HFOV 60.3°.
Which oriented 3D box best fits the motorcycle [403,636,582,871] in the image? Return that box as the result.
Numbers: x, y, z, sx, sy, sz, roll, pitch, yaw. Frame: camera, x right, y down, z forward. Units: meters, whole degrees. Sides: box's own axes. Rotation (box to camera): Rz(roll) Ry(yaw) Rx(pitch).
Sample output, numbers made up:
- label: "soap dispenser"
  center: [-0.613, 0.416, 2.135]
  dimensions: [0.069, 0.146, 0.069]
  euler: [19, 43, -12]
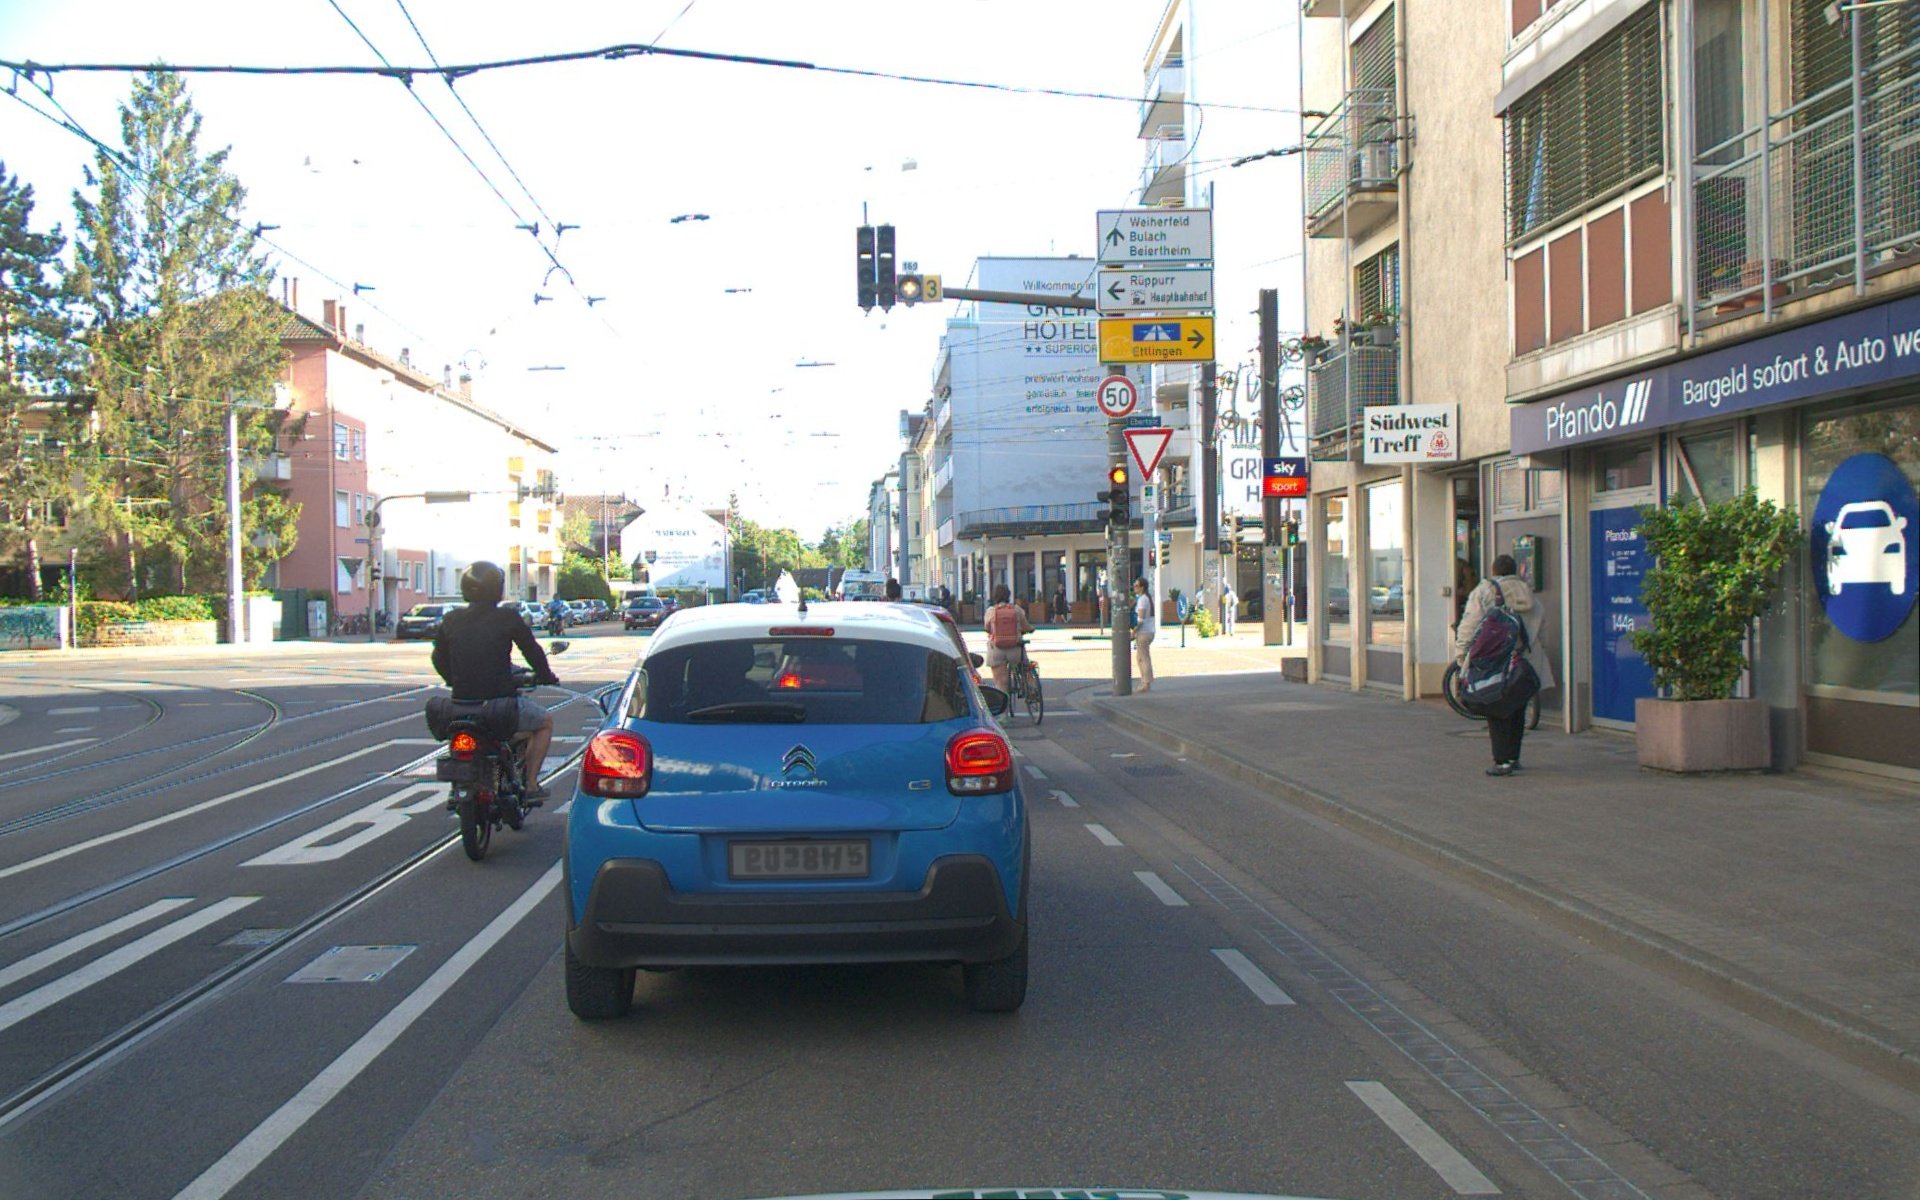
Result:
- label: "motorcycle"
  center: [-2.773, 0.858, 9.997]
  dimensions: [0.526, 1.240, 1.980]
  euler: [1, 0, -1]

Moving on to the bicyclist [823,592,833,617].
- label: "bicyclist"
  center: [-8.006, 0.276, 100.089]
  dimensions: [0.549, 1.503, 0.747]
  euler: [1, -1, -2]

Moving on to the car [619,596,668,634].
- label: "car"
  center: [-14.541, 0.692, 76.146]
  dimensions: [1.740, 1.695, 3.853]
  euler: [1, 0, -4]

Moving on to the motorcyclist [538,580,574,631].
- label: "motorcyclist"
  center: [-16.367, 0.223, 67.043]
  dimensions: [1.162, 2.049, 1.274]
  euler: [-1, 0, -4]

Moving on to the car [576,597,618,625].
- label: "car"
  center: [-23.229, 0.705, 105.955]
  dimensions: [1.944, 1.716, 3.997]
  euler: [1, 0, -4]

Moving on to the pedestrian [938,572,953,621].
- label: "pedestrian"
  center: [-0.622, -0.159, 70.291]
  dimensions: [0.565, 2.049, 0.625]
  euler: [1, -1, -3]

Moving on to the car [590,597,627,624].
- label: "car"
  center: [-23.529, 0.685, 110.826]
  dimensions: [1.845, 1.716, 3.997]
  euler: [1, 0, -4]

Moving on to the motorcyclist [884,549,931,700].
- label: "motorcyclist"
  center: [-0.616, 0.291, 19.599]
  dimensions: [0.516, 1.746, 0.717]
  euler: [1, -1, -1]

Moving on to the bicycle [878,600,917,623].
- label: "bicycle"
  center: [-2.604, 0.483, 69.238]
  dimensions: [1.751, 0.917, 0.365]
  euler: [1, -1, 34]

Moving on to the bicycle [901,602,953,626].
- label: "bicycle"
  center: [-1.362, 0.566, 67.509]
  dimensions: [2.093, 0.917, 0.366]
  euler: [1, -1, -10]

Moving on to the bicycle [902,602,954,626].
- label: "bicycle"
  center: [-1.298, 0.571, 67.086]
  dimensions: [2.093, 0.917, 0.366]
  euler: [1, -1, -10]

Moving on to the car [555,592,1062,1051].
- label: "car"
  center: [-0.514, 0.730, 7.140]
  dimensions: [1.620, 1.469, 3.522]
  euler: [1, 0, -1]

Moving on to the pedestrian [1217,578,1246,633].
- label: "pedestrian"
  center: [8.426, 0.168, 51.401]
  dimensions: [0.737, 1.686, 0.883]
  euler: [1, -1, -1]

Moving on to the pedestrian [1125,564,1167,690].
- label: "pedestrian"
  center: [2.718, 0.395, 24.223]
  dimensions: [0.507, 1.814, 0.595]
  euler: [1, -1, -3]

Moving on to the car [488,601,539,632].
- label: "car"
  center: [-23.106, 0.840, 85.693]
  dimensions: [1.750, 1.524, 3.997]
  euler: [1, 0, -4]

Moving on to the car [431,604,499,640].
- label: "car"
  center: [-22.227, 0.966, 74.383]
  dimensions: [1.778, 1.524, 4.299]
  euler: [1, 0, -1]

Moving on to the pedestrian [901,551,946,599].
- label: "pedestrian"
  center: [-1.606, -1.083, 73.517]
  dimensions: [1.953, 2.049, 3.999]
  euler: [1, 0, -1]

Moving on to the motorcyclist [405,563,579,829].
- label: "motorcyclist"
  center: [-2.781, 0.558, 9.882]
  dimensions: [0.843, 1.531, 0.598]
  euler: [1, -1, -1]

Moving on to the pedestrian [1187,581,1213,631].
- label: "pedestrian"
  center: [7.784, 0.195, 53.601]
  dimensions: [0.721, 1.629, 0.748]
  euler: [1, -1, -1]

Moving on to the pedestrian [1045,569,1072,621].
- label: "pedestrian"
  center: [3.930, -0.182, 65.918]
  dimensions: [0.747, 2.049, 0.706]
  euler: [0, -1, 44]

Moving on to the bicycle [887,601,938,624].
- label: "bicycle"
  center: [-1.964, 0.503, 68.262]
  dimensions: [2.093, 0.917, 0.366]
  euler: [1, -1, -10]

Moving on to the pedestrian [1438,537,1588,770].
- label: "pedestrian"
  center: [3.999, 0.378, 12.008]
  dimensions: [0.808, 1.620, 0.751]
  euler: [1, -1, -1]

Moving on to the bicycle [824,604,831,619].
- label: "bicycle"
  center: [-8.013, 0.697, 100.195]
  dimensions: [0.342, 0.919, 1.858]
  euler: [1, 0, -2]

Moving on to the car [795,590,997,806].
- label: "car"
  center: [-0.472, 0.700, 13.136]
  dimensions: [1.395, 1.493, 2.923]
  euler: [-1, 0, -1]

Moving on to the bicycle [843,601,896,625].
- label: "bicycle"
  center: [-3.608, 0.528, 66.173]
  dimensions: [2.093, 0.917, 0.366]
  euler: [1, -1, -10]

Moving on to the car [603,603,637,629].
- label: "car"
  center: [-23.889, 1.104, 116.227]
  dimensions: [1.797, 1.716, 3.997]
  euler: [1, 0, -4]

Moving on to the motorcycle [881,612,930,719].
- label: "motorcycle"
  center: [-0.624, 0.733, 19.409]
  dimensions: [0.515, 1.159, 2.289]
  euler: [1, 0, -1]

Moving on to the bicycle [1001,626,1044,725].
- label: "bicycle"
  center: [0.764, 0.906, 20.537]
  dimensions: [0.419, 1.142, 1.998]
  euler: [1, 0, -1]

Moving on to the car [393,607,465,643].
- label: "car"
  center: [-21.922, 1.016, 68.452]
  dimensions: [1.757, 1.446, 3.994]
  euler: [1, 0, -2]

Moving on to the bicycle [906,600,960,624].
- label: "bicycle"
  center: [-1.075, 0.482, 65.858]
  dimensions: [2.093, 0.917, 0.366]
  euler: [1, -1, -10]

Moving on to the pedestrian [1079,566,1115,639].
- label: "pedestrian"
  center: [3.889, 0.068, 46.976]
  dimensions: [0.907, 2.049, 0.759]
  euler: [1, -1, -1]

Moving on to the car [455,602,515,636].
- label: "car"
  center: [-22.648, 0.889, 79.045]
  dimensions: [1.751, 1.537, 4.148]
  euler: [1, 0, -2]

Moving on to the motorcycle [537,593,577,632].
- label: "motorcycle"
  center: [-16.358, 0.487, 67.177]
  dimensions: [0.905, 1.512, 3.723]
  euler: [1, 0, -4]

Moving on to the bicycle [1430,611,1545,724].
- label: "bicycle"
  center: [5.039, 0.620, 15.887]
  dimensions: [0.531, 1.016, 1.705]
  euler: [1, 0, -1]

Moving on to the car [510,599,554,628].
- label: "car"
  center: [-23.751, 0.752, 91.905]
  dimensions: [1.699, 1.524, 3.996]
  euler: [1, 0, -5]

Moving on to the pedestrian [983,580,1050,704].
- label: "pedestrian"
  center: [0.683, 0.507, 20.223]
  dimensions: [0.761, 1.486, 0.681]
  euler: [1, -1, -1]

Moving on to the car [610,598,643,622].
- label: "car"
  center: [-24.345, 0.713, 120.922]
  dimensions: [1.809, 1.716, 3.871]
  euler: [1, 0, -4]

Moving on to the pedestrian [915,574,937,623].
- label: "pedestrian"
  center: [-1.415, -0.055, 69.214]
  dimensions: [0.625, 2.049, 0.715]
  euler: [1, -1, -37]
